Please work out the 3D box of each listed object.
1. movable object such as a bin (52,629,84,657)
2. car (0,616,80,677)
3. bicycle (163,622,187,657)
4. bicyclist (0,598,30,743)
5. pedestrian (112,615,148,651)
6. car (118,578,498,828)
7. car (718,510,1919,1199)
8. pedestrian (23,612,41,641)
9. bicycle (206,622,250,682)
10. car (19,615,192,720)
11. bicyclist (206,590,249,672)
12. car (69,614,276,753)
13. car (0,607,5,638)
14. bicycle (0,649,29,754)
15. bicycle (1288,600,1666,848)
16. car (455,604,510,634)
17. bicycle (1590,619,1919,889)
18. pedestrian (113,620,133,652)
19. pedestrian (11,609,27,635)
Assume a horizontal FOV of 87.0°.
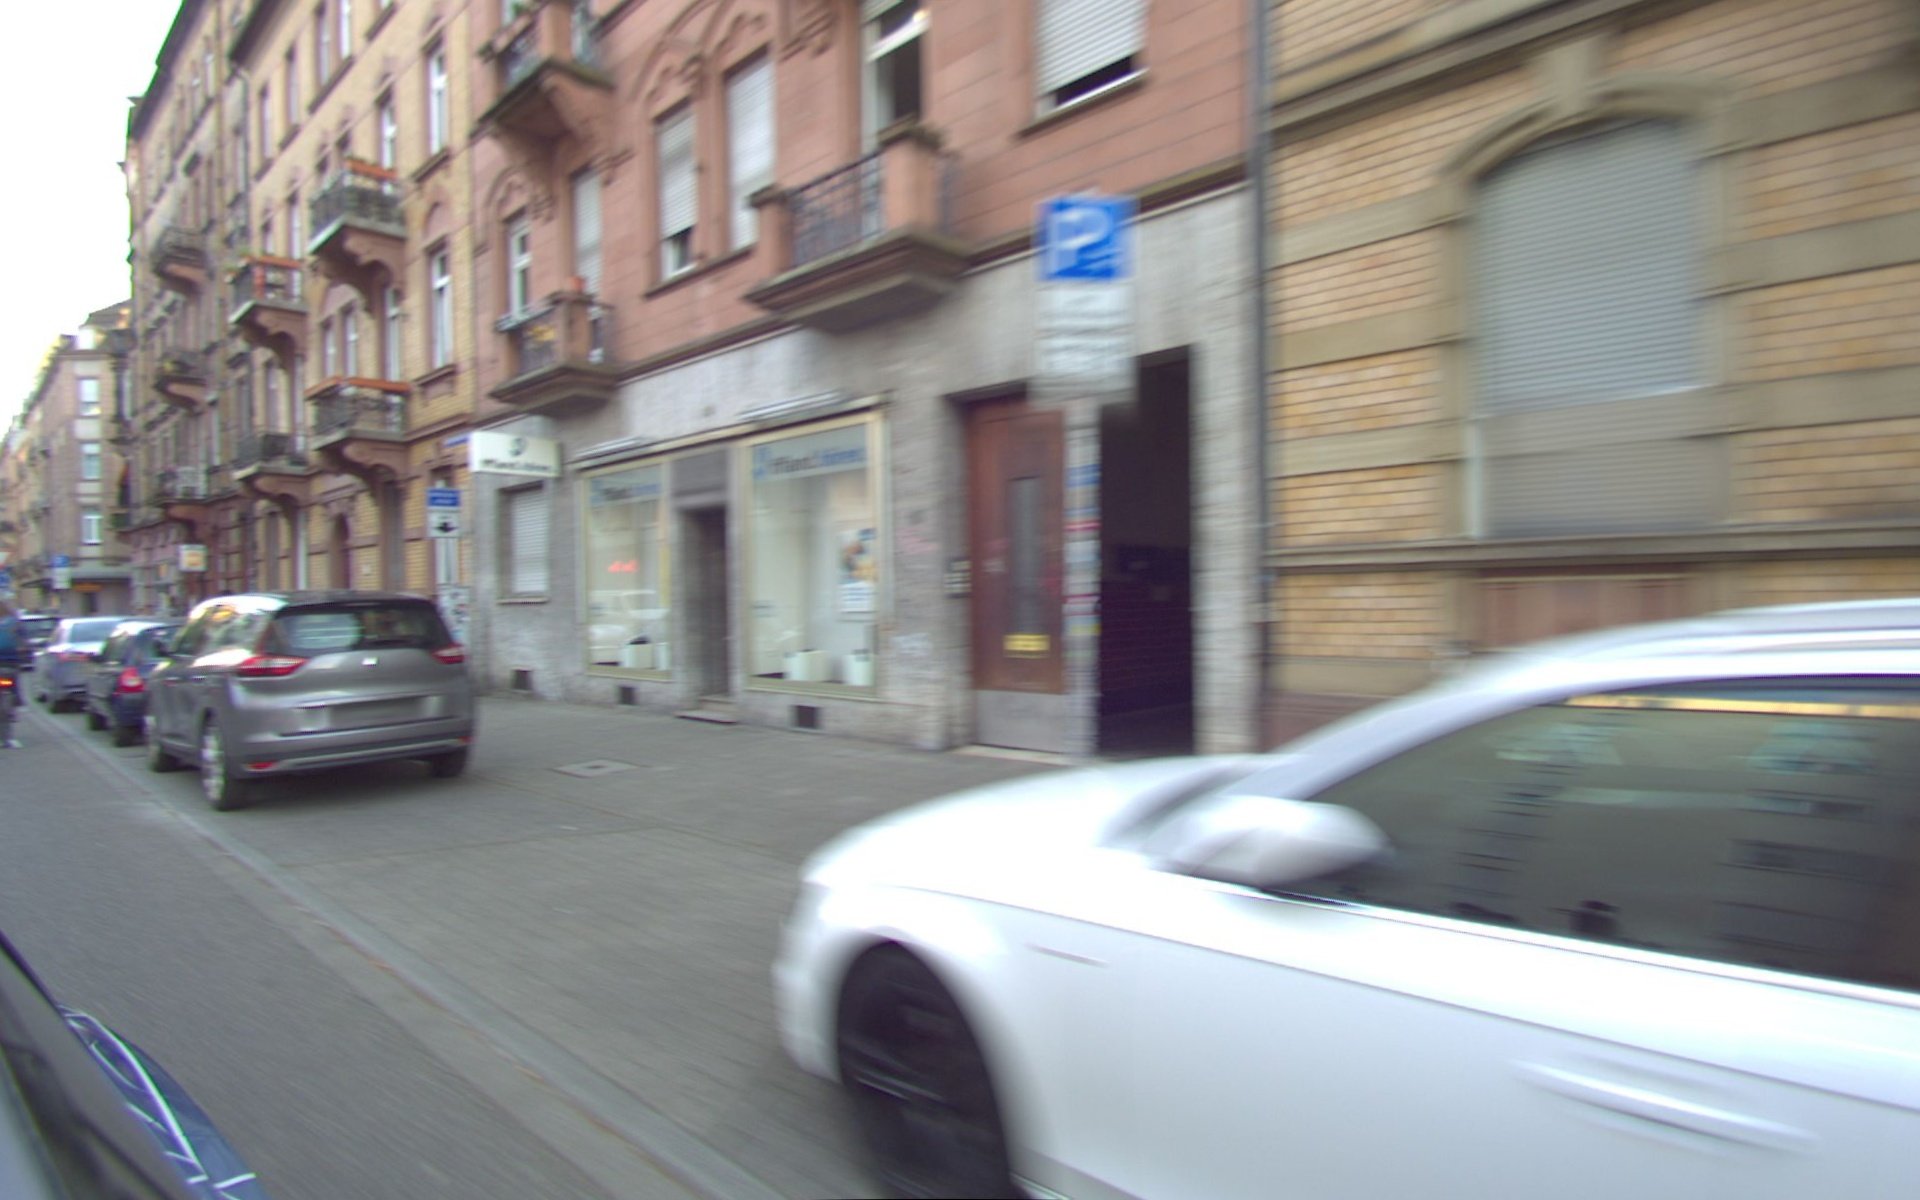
[{"bbox_3d":[-31.565,1.516,35.803,0.729,0.922,0.753,0,1,40],"label":"movable object such as a bin"},{"bbox_3d":[-24.633,1.193,26.904,1.673,1.431,3.858,-2,1,-43],"label":"car"},{"bbox_3d":[-25.175,1.258,32.441,0.420,1.061,1.900,-2,0,-43],"label":"bicycle"},{"bbox_3d":[-11.190,0.798,11.683,0.637,1.633,0.919,1,-2,-43],"label":"bicyclist"},{"bbox_3d":[-30.448,1.200,37.128,0.904,1.264,0.644,-2,2,29],"label":"pedestrian"},{"bbox_3d":[-5.947,0.720,8.973,4.447,1.646,1.832,-2,1,44],"label":"car"},{"bbox_3d":[1.576,0.587,1.832,4.509,1.422,1.739,-2,1,44],"label":"car"},{"bbox_3d":[-58.264,1.660,63.548,0.644,1.792,0.694,-2,0,-28],"label":"pedestrian"},{"bbox_3d":[-16.145,1.118,22.311,0.699,1.205,1.745,-1,1,-38],"label":"bicycle"},{"bbox_3d":[-14.331,1.009,16.872,4.583,1.431,1.704,-1,1,44],"label":"car"},{"bbox_3d":[-16.123,0.665,22.283,0.699,1.742,0.845,-1,1,-39],"label":"bicyclist"},{"bbox_3d":[-9.970,0.942,12.712,3.698,1.431,1.567,-2,0,45],"label":"car"},{"bbox_3d":[-65.399,1.530,67.530,4.769,1.973,2.113,-1,1,43],"label":"car"},{"bbox_3d":[-11.160,1.131,11.641,0.637,1.089,2.171,1,-2,-43],"label":"bicycle"},{"bbox_3d":[2.723,0.588,5.477,1.731,1.140,0.510,-1,0,44],"label":"bicycle"},{"bbox_3d":[-31.110,1.182,65.940,4.001,1.852,1.971,0,0,44],"label":"car"},{"bbox_3d":[3.747,0.616,4.396,1.624,1.044,0.559,-1,0,44],"label":"bicycle"},{"bbox_3d":[-31.230,1.329,37.767,0.497,1.152,0.792,-2,1,-45],"label":"pedestrian"},{"bbox_3d":[-67.039,1.549,72.109,0.737,1.756,1.215,-2,1,-40],"label":"pedestrian"}]
